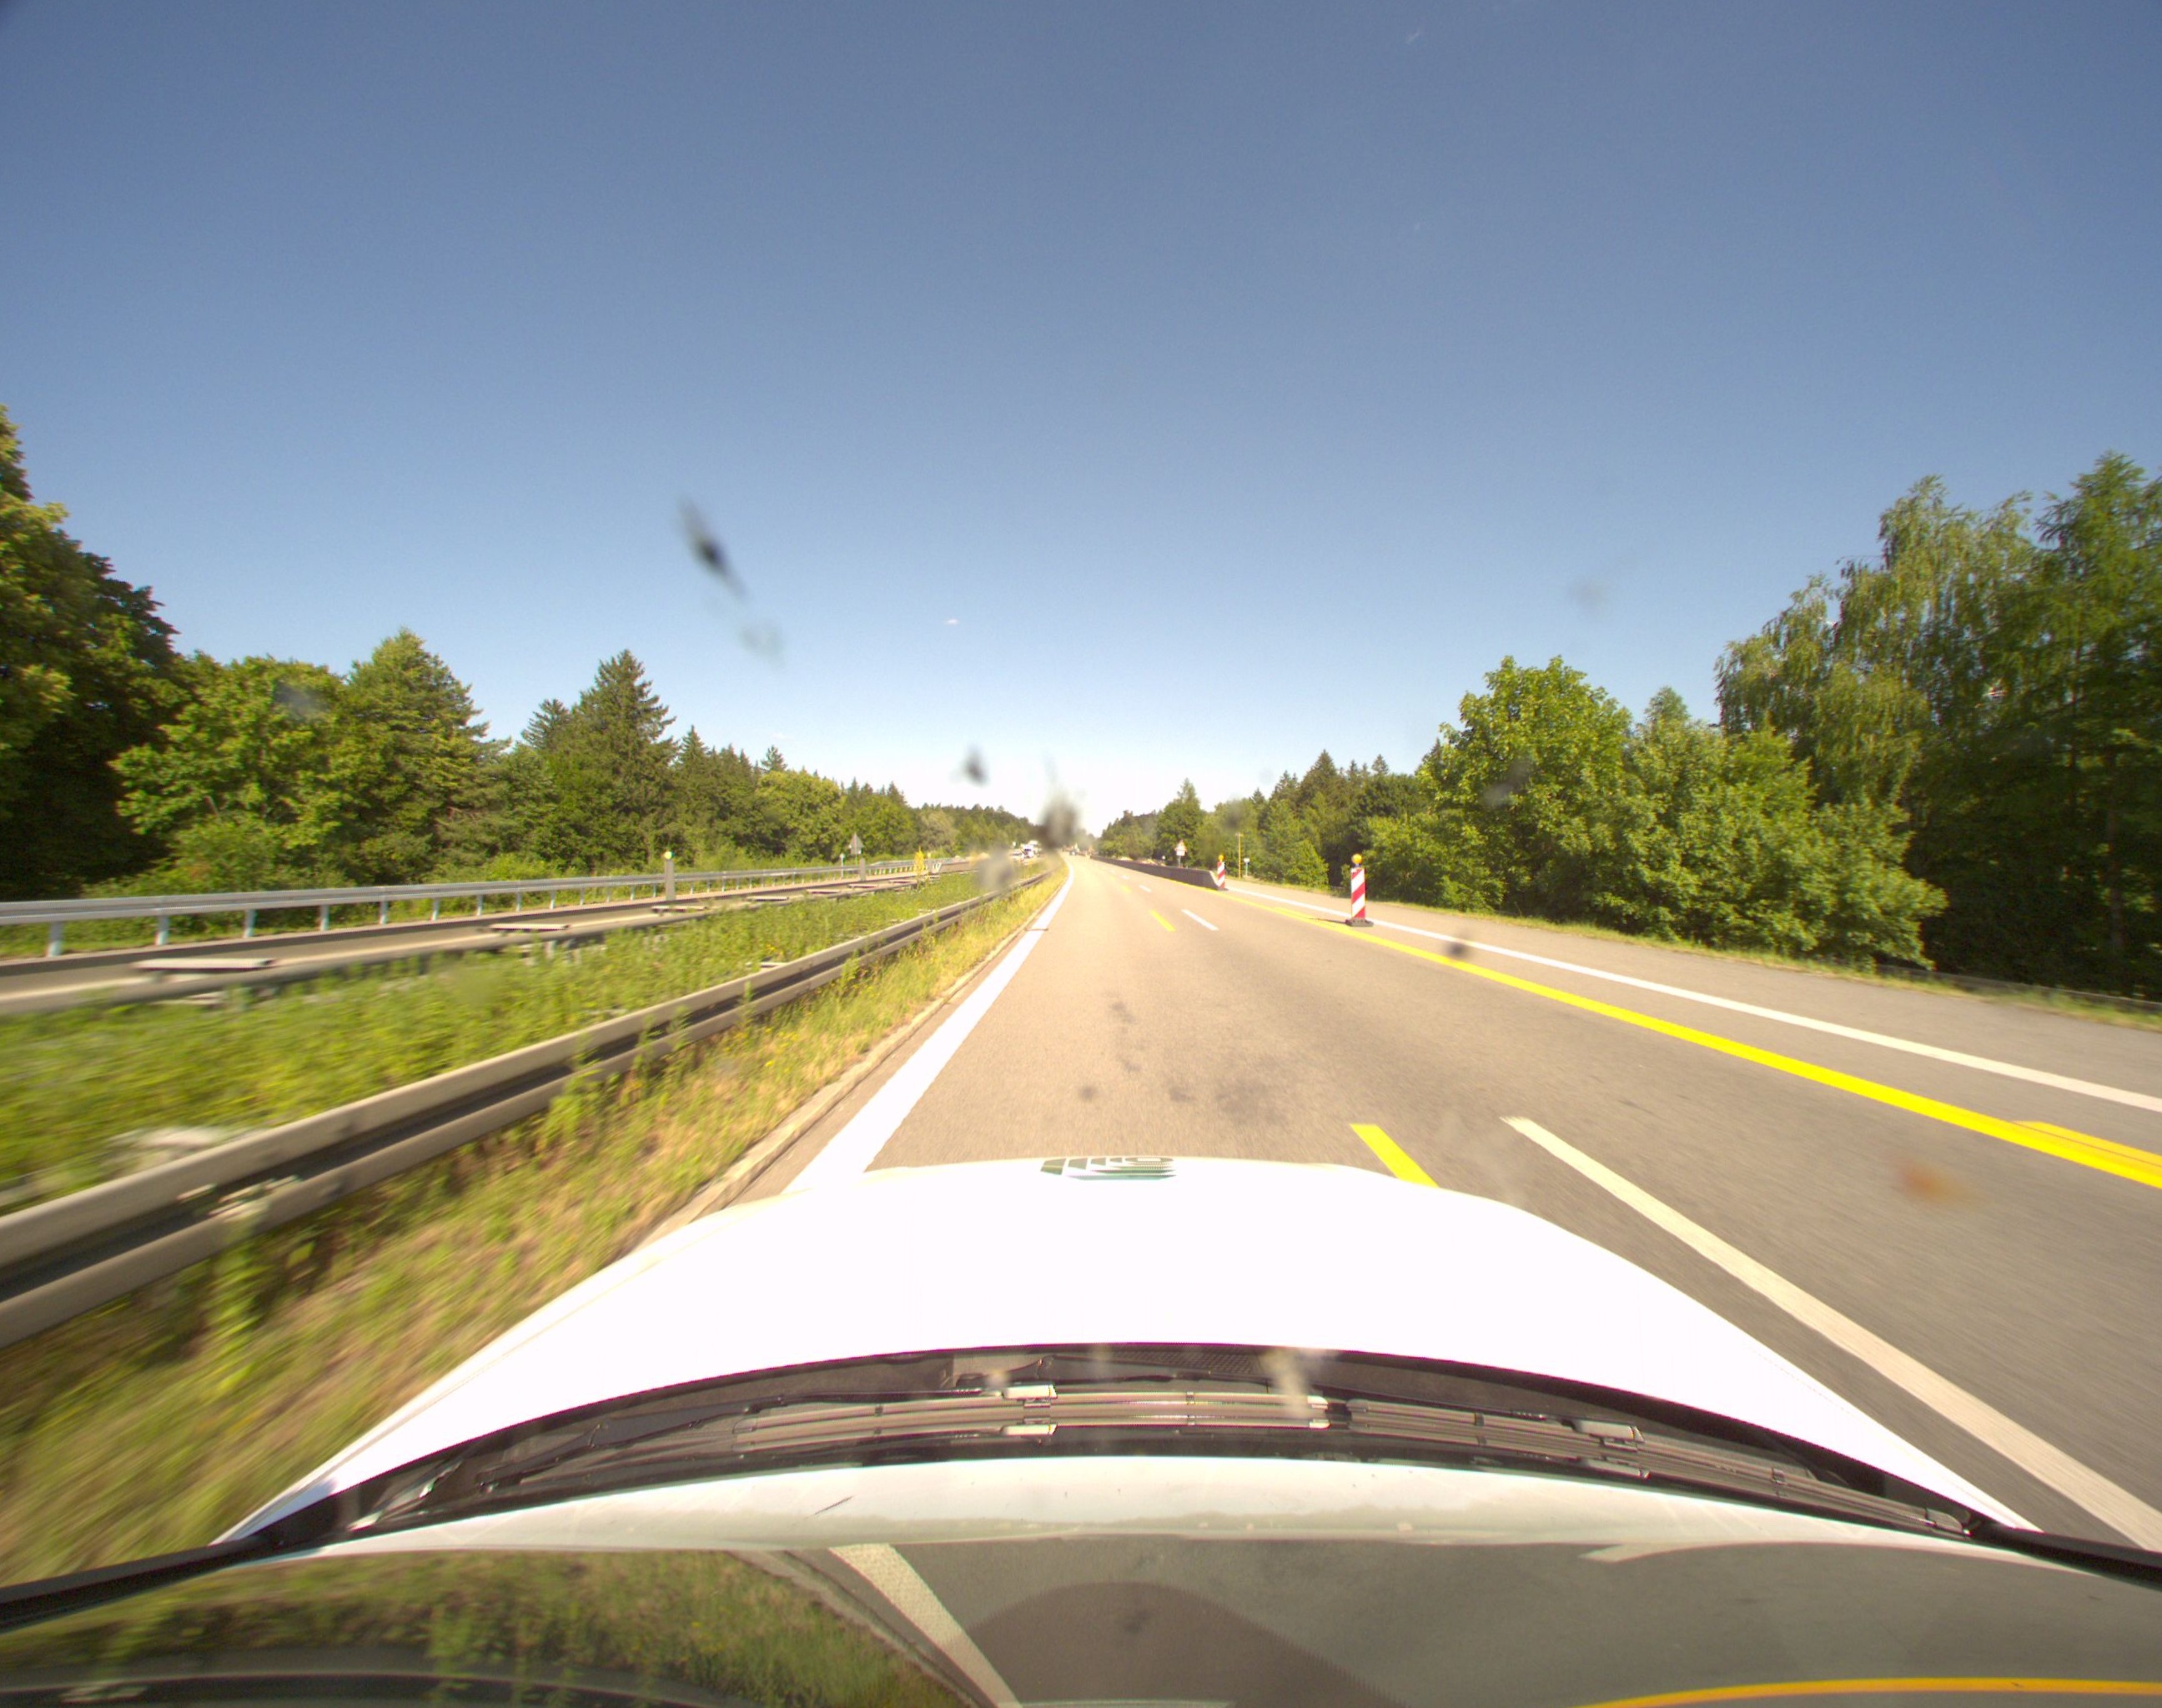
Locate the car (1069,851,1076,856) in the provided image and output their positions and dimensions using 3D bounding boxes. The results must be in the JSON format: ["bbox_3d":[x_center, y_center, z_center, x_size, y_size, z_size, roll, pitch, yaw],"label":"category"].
[{"bbox_3d":[-2.555,-0.075,238.495,1.739,1.466,4.290,1,0,-2],"label":"car"}]

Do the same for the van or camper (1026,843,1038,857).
[{"bbox_3d":[-10.924,-0.929,181.123,2.399,2.950,7.519,1,0,-1],"label":"van or camper"}]

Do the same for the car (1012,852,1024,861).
[{"bbox_3d":[-10.528,0.455,136.949,1.696,1.432,4.953,-1,0,-1],"label":"car"}]

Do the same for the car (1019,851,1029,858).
[{"bbox_3d":[-11.717,0.098,167.500,1.736,1.432,5.232,-2,0,-1],"label":"car"}]

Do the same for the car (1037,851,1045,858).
[{"bbox_3d":[-9.361,0.079,190.031,1.736,1.530,3.998,-1,0,-1],"label":"car"}]

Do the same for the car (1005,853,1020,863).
[{"bbox_3d":[-9.884,0.562,117.457,1.878,1.432,4.981,1,0,-1],"label":"car"}]
